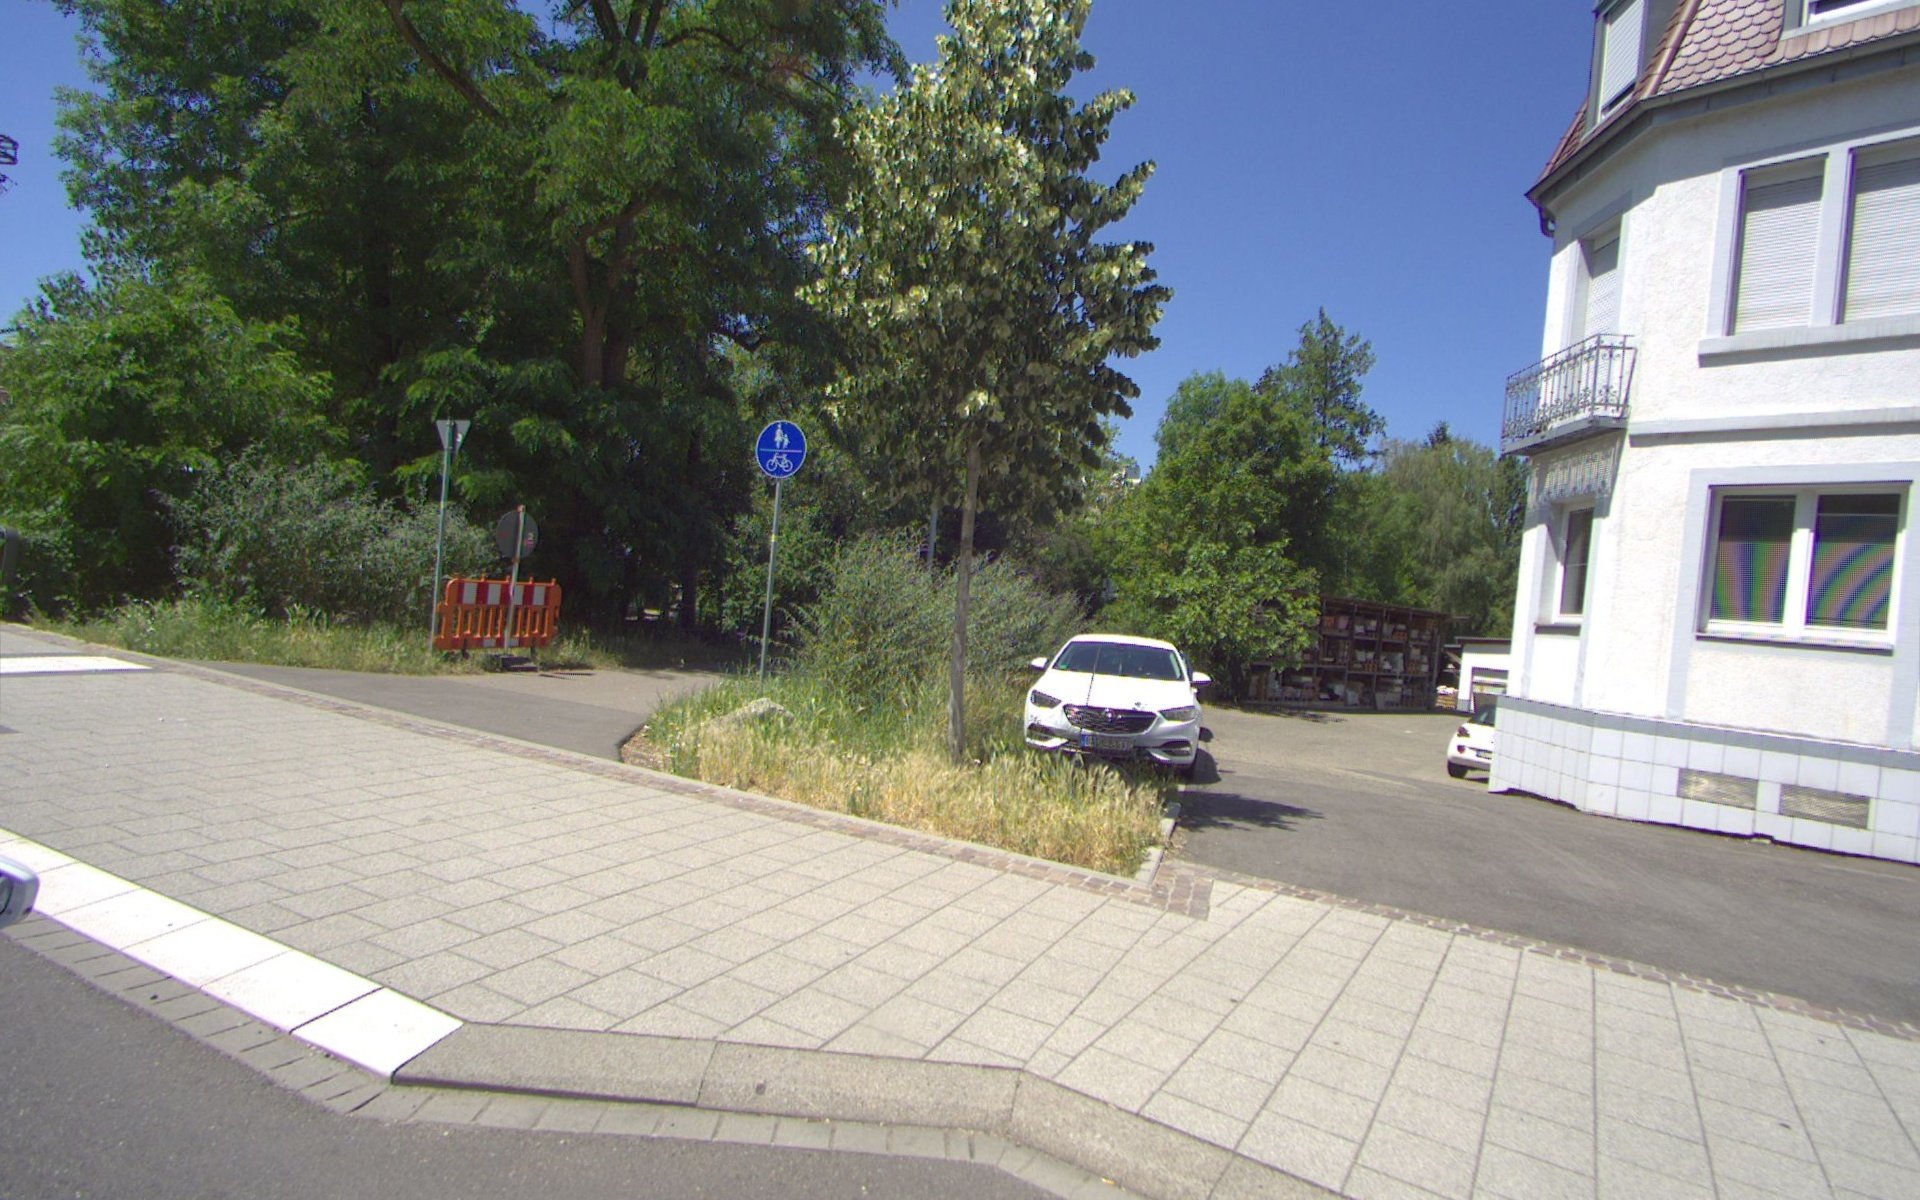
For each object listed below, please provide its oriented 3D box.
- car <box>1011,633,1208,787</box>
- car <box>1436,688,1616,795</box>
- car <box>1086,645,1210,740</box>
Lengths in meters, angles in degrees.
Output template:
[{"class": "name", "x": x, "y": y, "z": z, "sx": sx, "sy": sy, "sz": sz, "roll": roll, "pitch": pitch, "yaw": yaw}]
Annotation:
[{"class": "car", "x": 1.823, "y": 1.149, "z": 11.811, "sx": 1.825, "sy": 1.366, "sz": 4.206, "roll": 3, "pitch": -2, "yaw": 11}, {"class": "car", "x": 10.810, "y": 2.727, "z": 19.093, "sx": 4.009, "sy": 1.559, "sz": 1.778, "roll": 11, "pitch": -3, "yaw": -44}, {"class": "car", "x": 3.503, "y": 1.582, "z": 18.154, "sx": 1.825, "sy": 1.366, "sz": 4.206, "roll": 4, "pitch": -2, "yaw": 15}]
